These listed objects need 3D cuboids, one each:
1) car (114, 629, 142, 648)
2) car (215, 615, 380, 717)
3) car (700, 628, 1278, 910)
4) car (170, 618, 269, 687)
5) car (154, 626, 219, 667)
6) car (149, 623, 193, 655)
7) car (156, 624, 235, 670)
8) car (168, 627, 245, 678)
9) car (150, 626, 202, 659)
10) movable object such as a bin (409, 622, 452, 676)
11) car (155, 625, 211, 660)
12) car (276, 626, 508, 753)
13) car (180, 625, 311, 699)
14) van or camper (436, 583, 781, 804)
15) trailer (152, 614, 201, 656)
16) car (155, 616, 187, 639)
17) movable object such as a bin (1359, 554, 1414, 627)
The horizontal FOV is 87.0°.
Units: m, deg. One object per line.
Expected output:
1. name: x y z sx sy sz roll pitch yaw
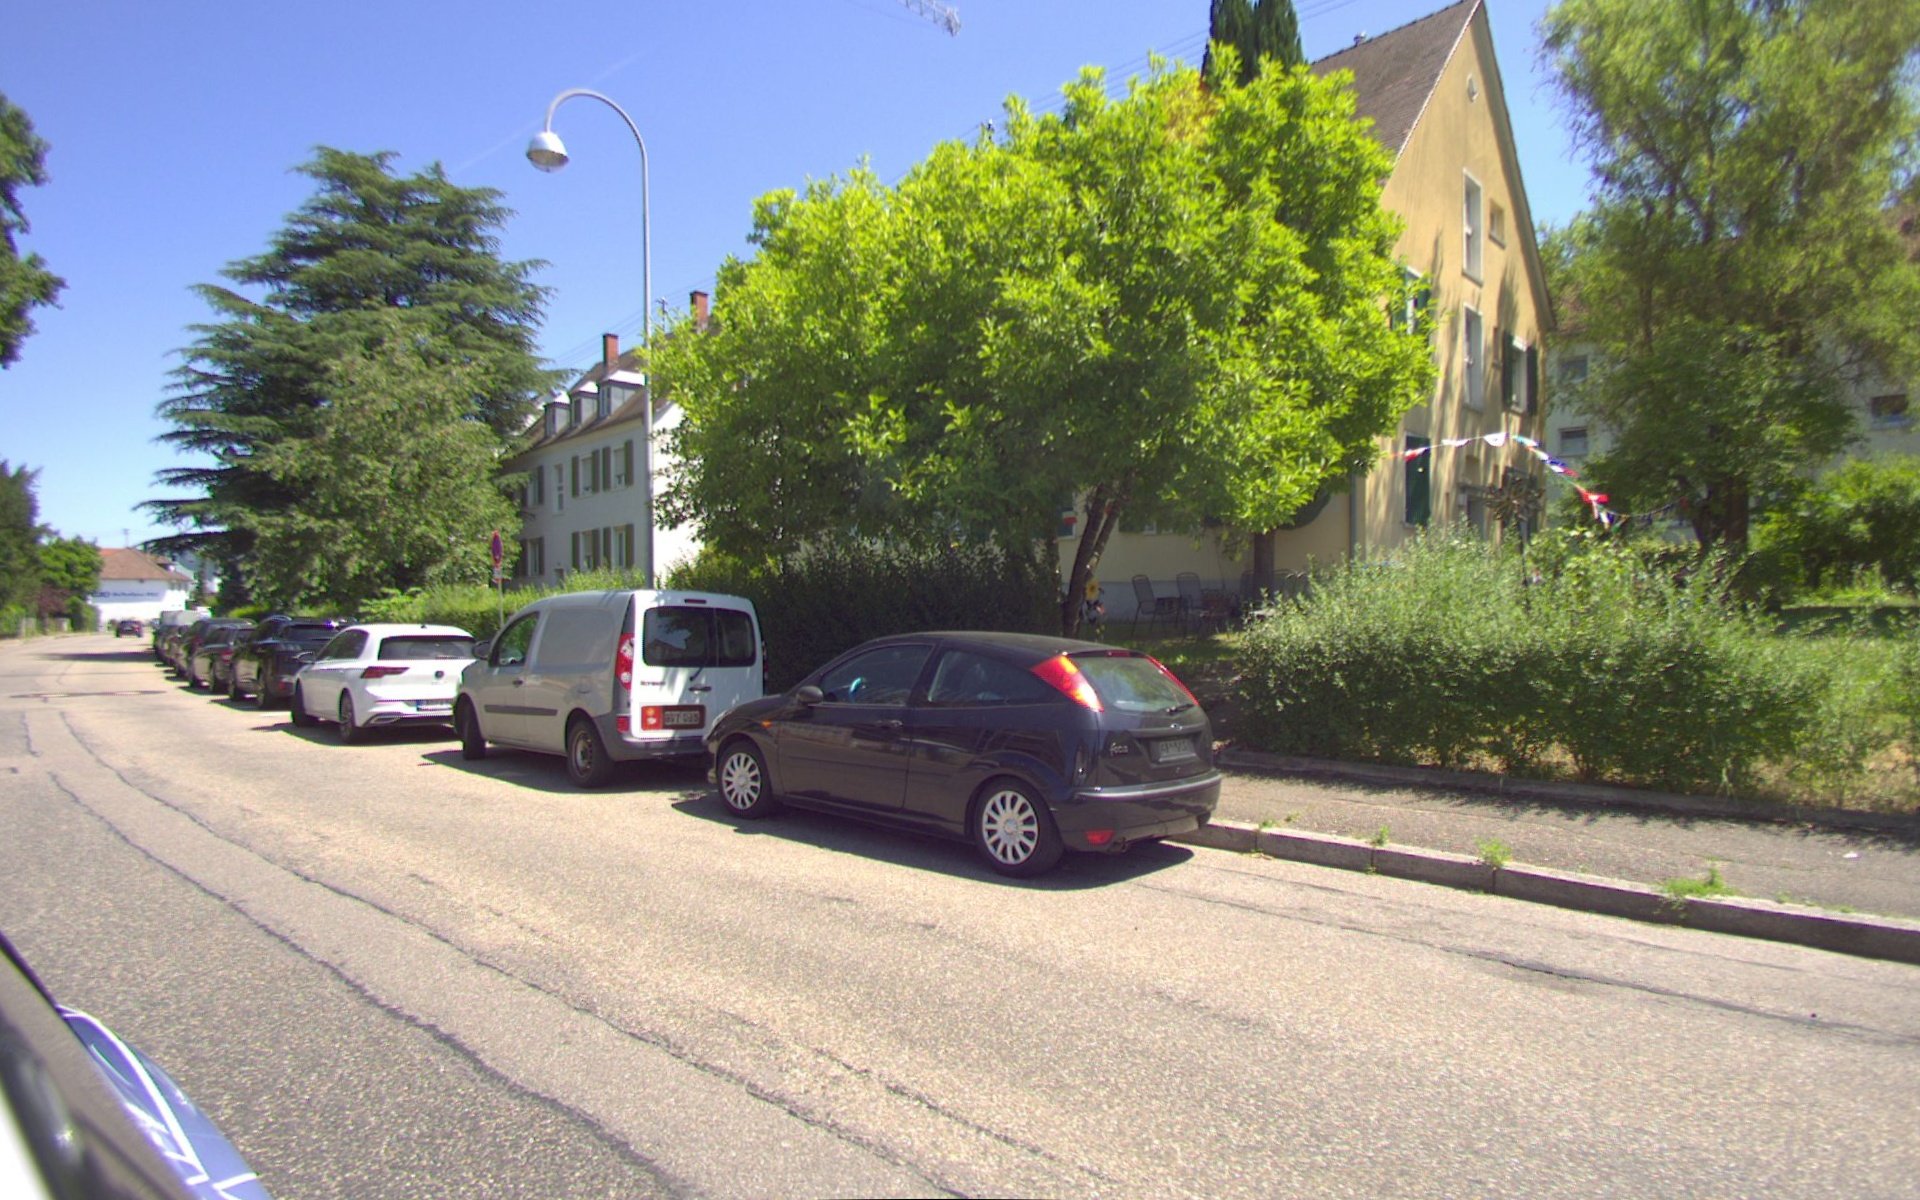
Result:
1. car: -73.955 3.393 89.915 1.875 1.587 4.148 1 -2 -40
2. car: -12.177 1.124 18.479 1.661 1.649 4.333 3 -3 -45
3. car: 0.013 0.923 7.106 3.925 1.423 1.663 -1 -3 42
4. car: -19.405 1.334 26.469 1.660 1.652 3.794 2 -3 -42
5. car: -29.277 1.712 38.281 1.774 1.453 4.280 2 -3 -39
6. car: -42.950 2.099 55.064 1.746 1.631 4.557 3 -3 -39
7. car: -25.895 1.567 34.239 1.774 1.453 3.790 2 -3 -42
8. car: -22.737 1.545 30.479 1.660 1.412 3.796 2 -3 -39
9. car: -36.283 1.938 46.810 1.773 1.453 4.485 2 -3 -38
10. movable object such as a bin: -13.639 1.249 26.069 0.744 1.342 0.964 2 -2 -44
11. car: -33.153 1.791 43.150 1.773 1.453 3.904 2 -3 -38
12. car: -7.815 1.098 13.752 1.661 1.452 4.250 3 -3 -45
13. car: -15.923 1.306 22.478 1.661 1.487 4.333 3 -3 -45
14. van or camper: -3.716 0.825 10.330 3.986 1.818 1.662 -1 -3 44
15. trailer: -40.067 1.780 51.742 1.791 2.049 4.007 3 -3 -39
16. car: -63.994 2.247 82.090 1.864 1.772 3.620 3 -3 -37
17. movable object such as a bin: 7.211 -0.145 17.105 0.674 1.205 0.614 -2 -1 43
